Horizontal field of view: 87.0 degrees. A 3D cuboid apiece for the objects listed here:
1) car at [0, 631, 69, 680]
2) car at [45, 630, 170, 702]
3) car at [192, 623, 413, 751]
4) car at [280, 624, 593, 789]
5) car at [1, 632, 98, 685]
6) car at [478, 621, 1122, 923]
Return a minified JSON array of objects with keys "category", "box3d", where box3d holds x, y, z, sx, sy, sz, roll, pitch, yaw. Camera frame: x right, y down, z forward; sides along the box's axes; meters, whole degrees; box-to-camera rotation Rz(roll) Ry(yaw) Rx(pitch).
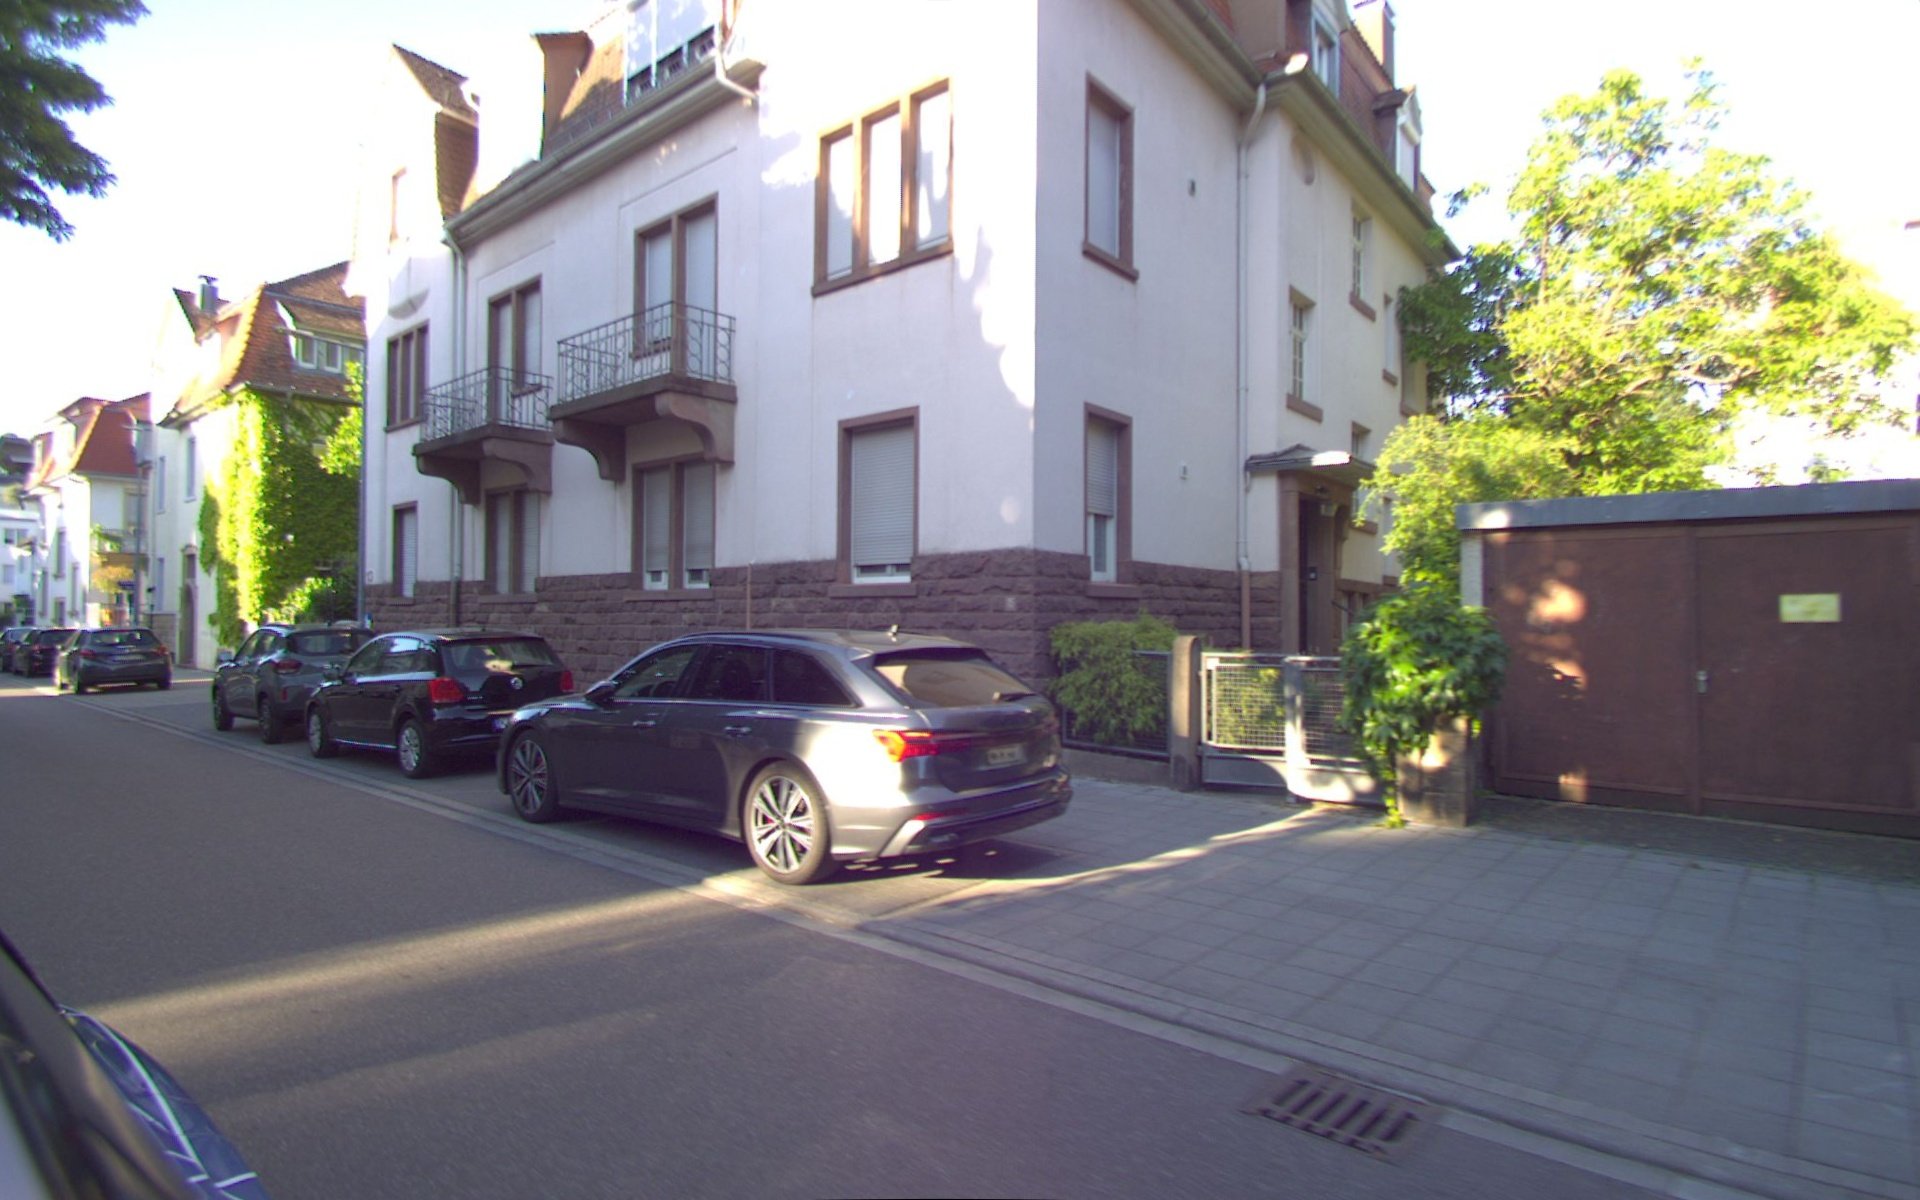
[{"category":"car","box3d":[-31.021,1.791,33.422,4.629,1.481,1.692,-2,-1,40]},{"category":"car","box3d":[-19.605,1.448,23.219,4.003,1.458,1.636,-2,-1,42]},{"category":"car","box3d":[-9.189,1.100,14.036,3.763,1.497,1.636,-2,-1,42]},{"category":"car","box3d":[-5.799,1.015,11.037,3.840,1.458,1.637,-2,-1,39]},{"category":"car","box3d":[-27.014,1.675,29.993,4.165,1.426,1.636,-2,-1,41]},{"category":"car","box3d":[-1.390,0.903,7.162,4.772,1.472,1.775,-1,-2,39]}]
